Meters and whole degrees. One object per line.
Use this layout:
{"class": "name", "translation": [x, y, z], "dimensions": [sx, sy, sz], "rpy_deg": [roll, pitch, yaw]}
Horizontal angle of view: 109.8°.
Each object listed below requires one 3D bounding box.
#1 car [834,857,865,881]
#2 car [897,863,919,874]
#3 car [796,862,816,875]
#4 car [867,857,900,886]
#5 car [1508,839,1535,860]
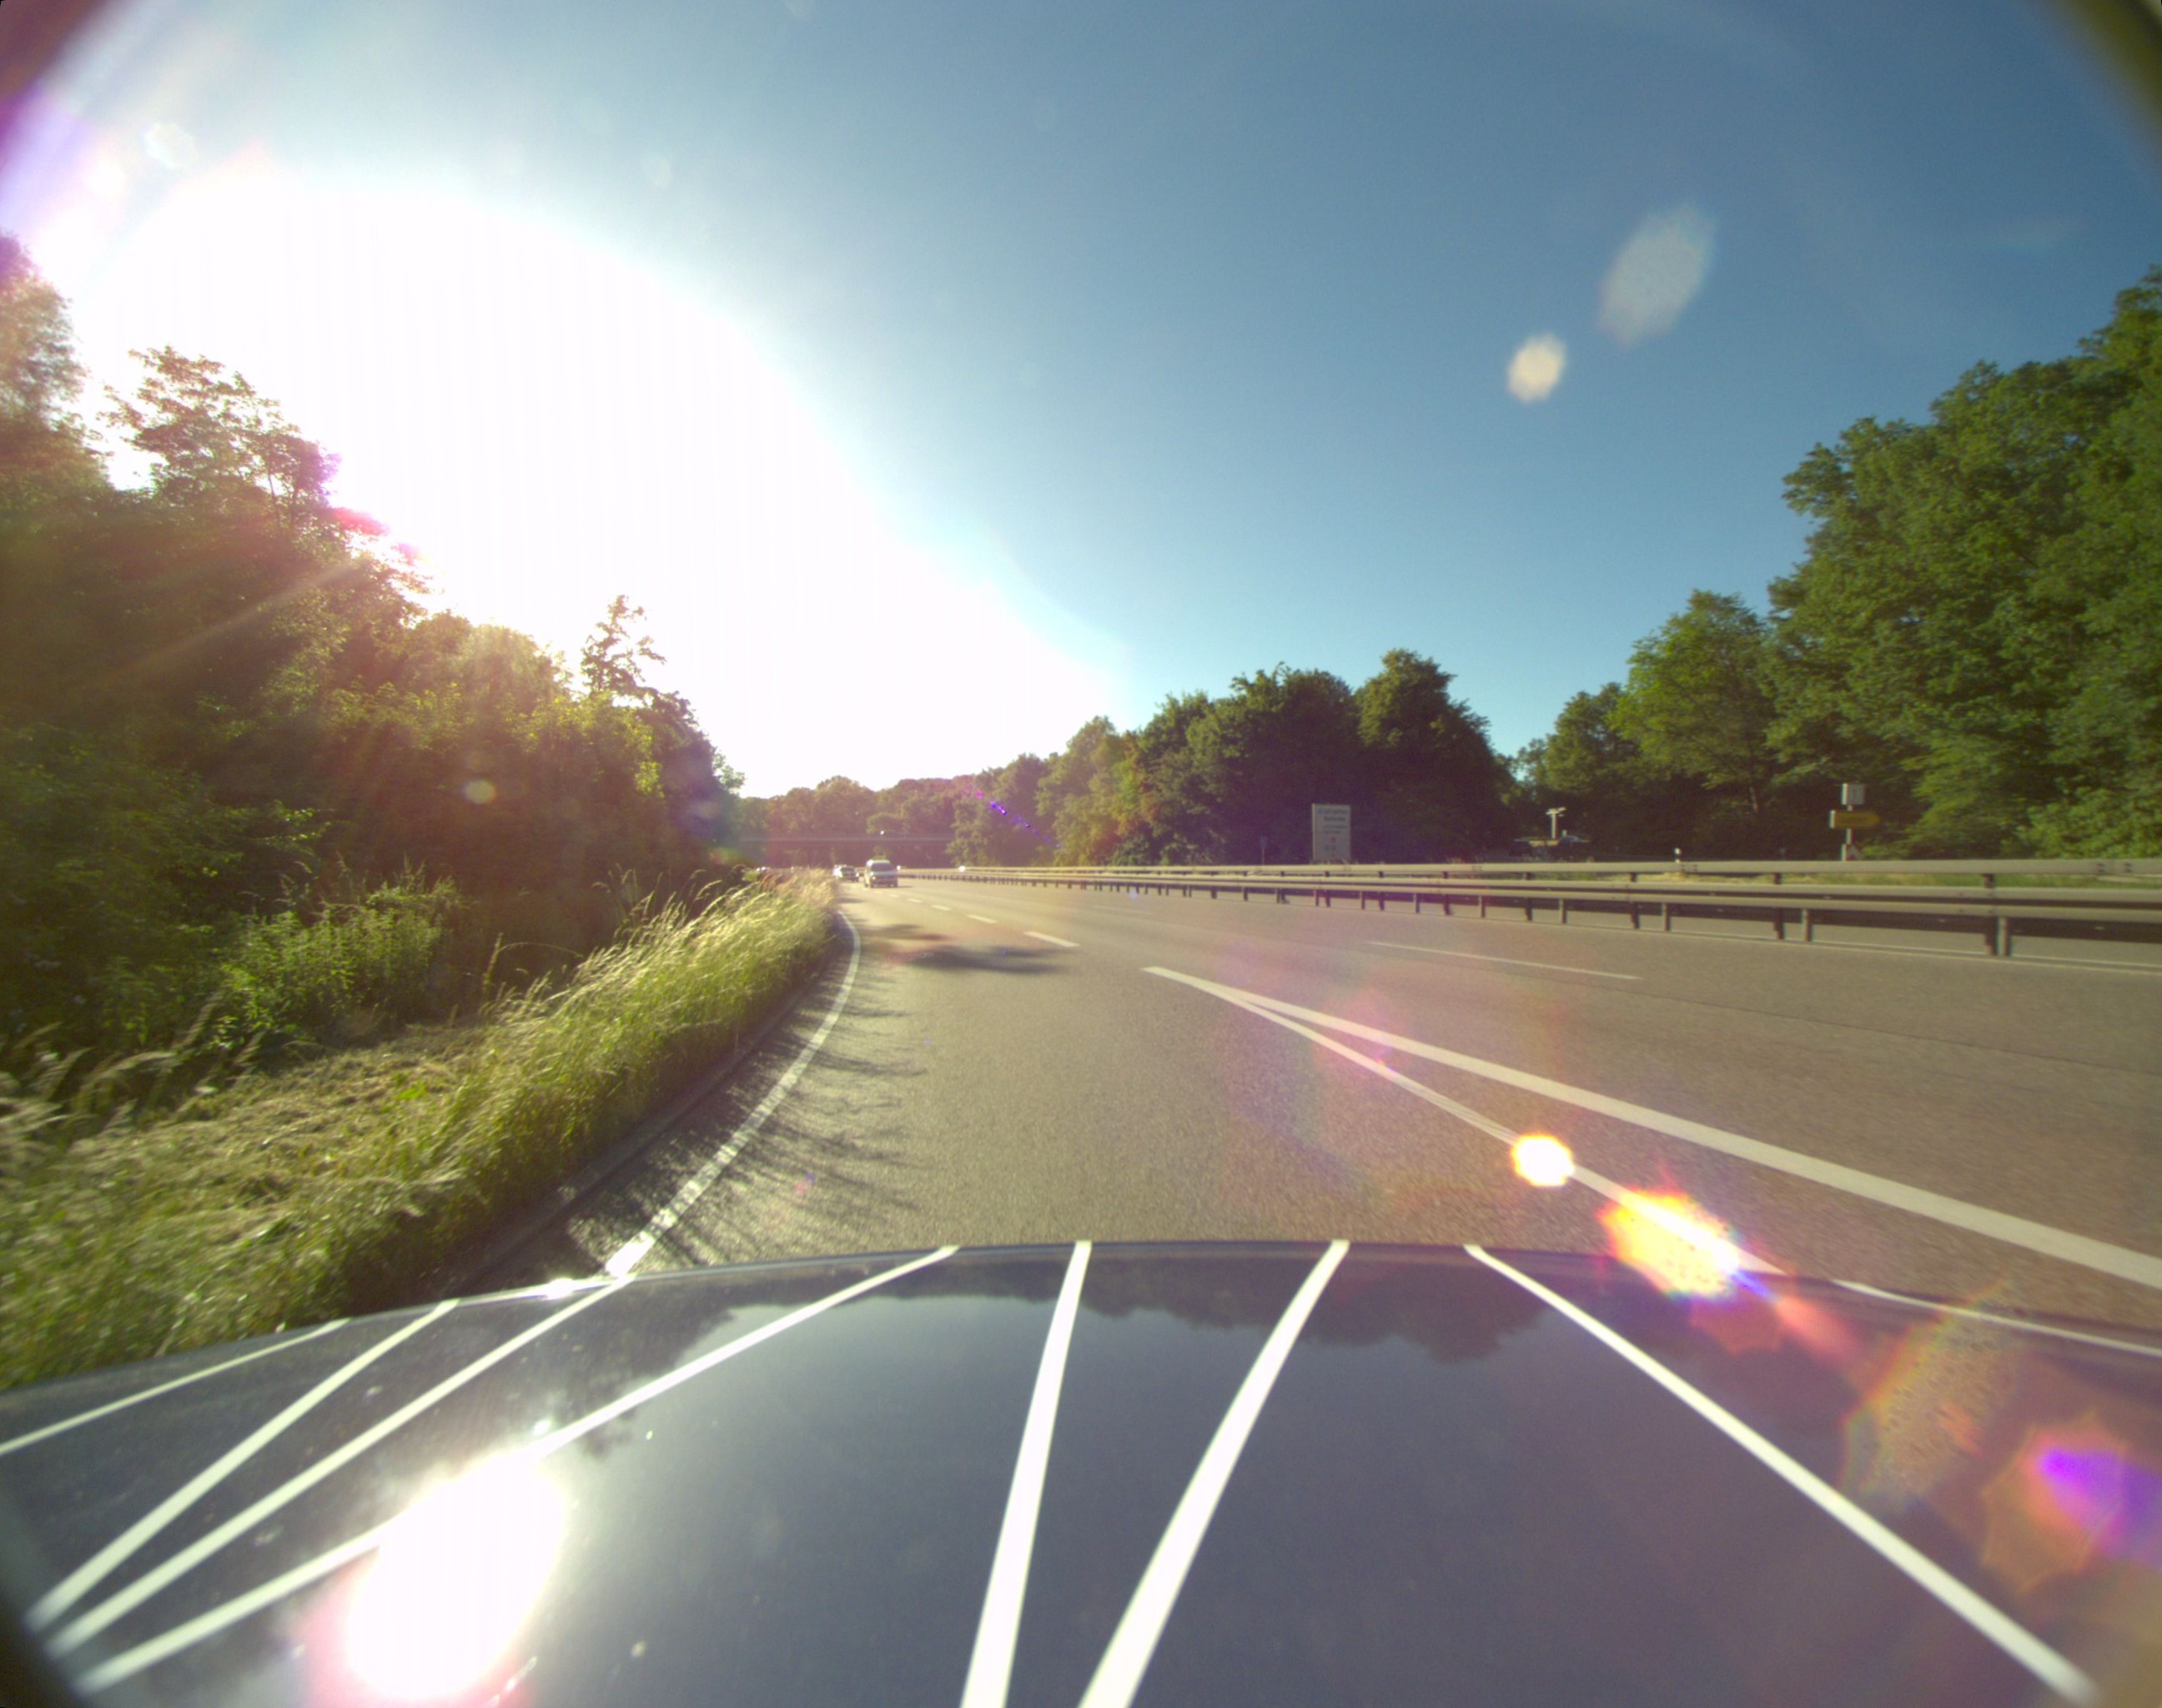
{"class": "car", "translation": [-21.619, 1.348, 70.827], "dimensions": [2.261, 1.843, 5.130], "rpy_deg": [-2, 3, -23]}
{"class": "car", "translation": [-26.543, 2.187, 116.404], "dimensions": [2.003, 1.640, 4.413], "rpy_deg": [-1, 0, -30]}
{"class": "car", "translation": [-36.480, 1.939, 100.699], "dimensions": [1.938, 1.499, 5.075], "rpy_deg": [-1, 1, -25]}
{"class": "car", "translation": [-13.523, 1.140, 51.796], "dimensions": [1.802, 1.796, 4.824], "rpy_deg": [-2, 1, -19]}
{"class": "car", "translation": [40.527, -0.444, 69.952], "dimensions": [1.995, 1.849, 4.673], "rpy_deg": [-1, 1, 28]}
